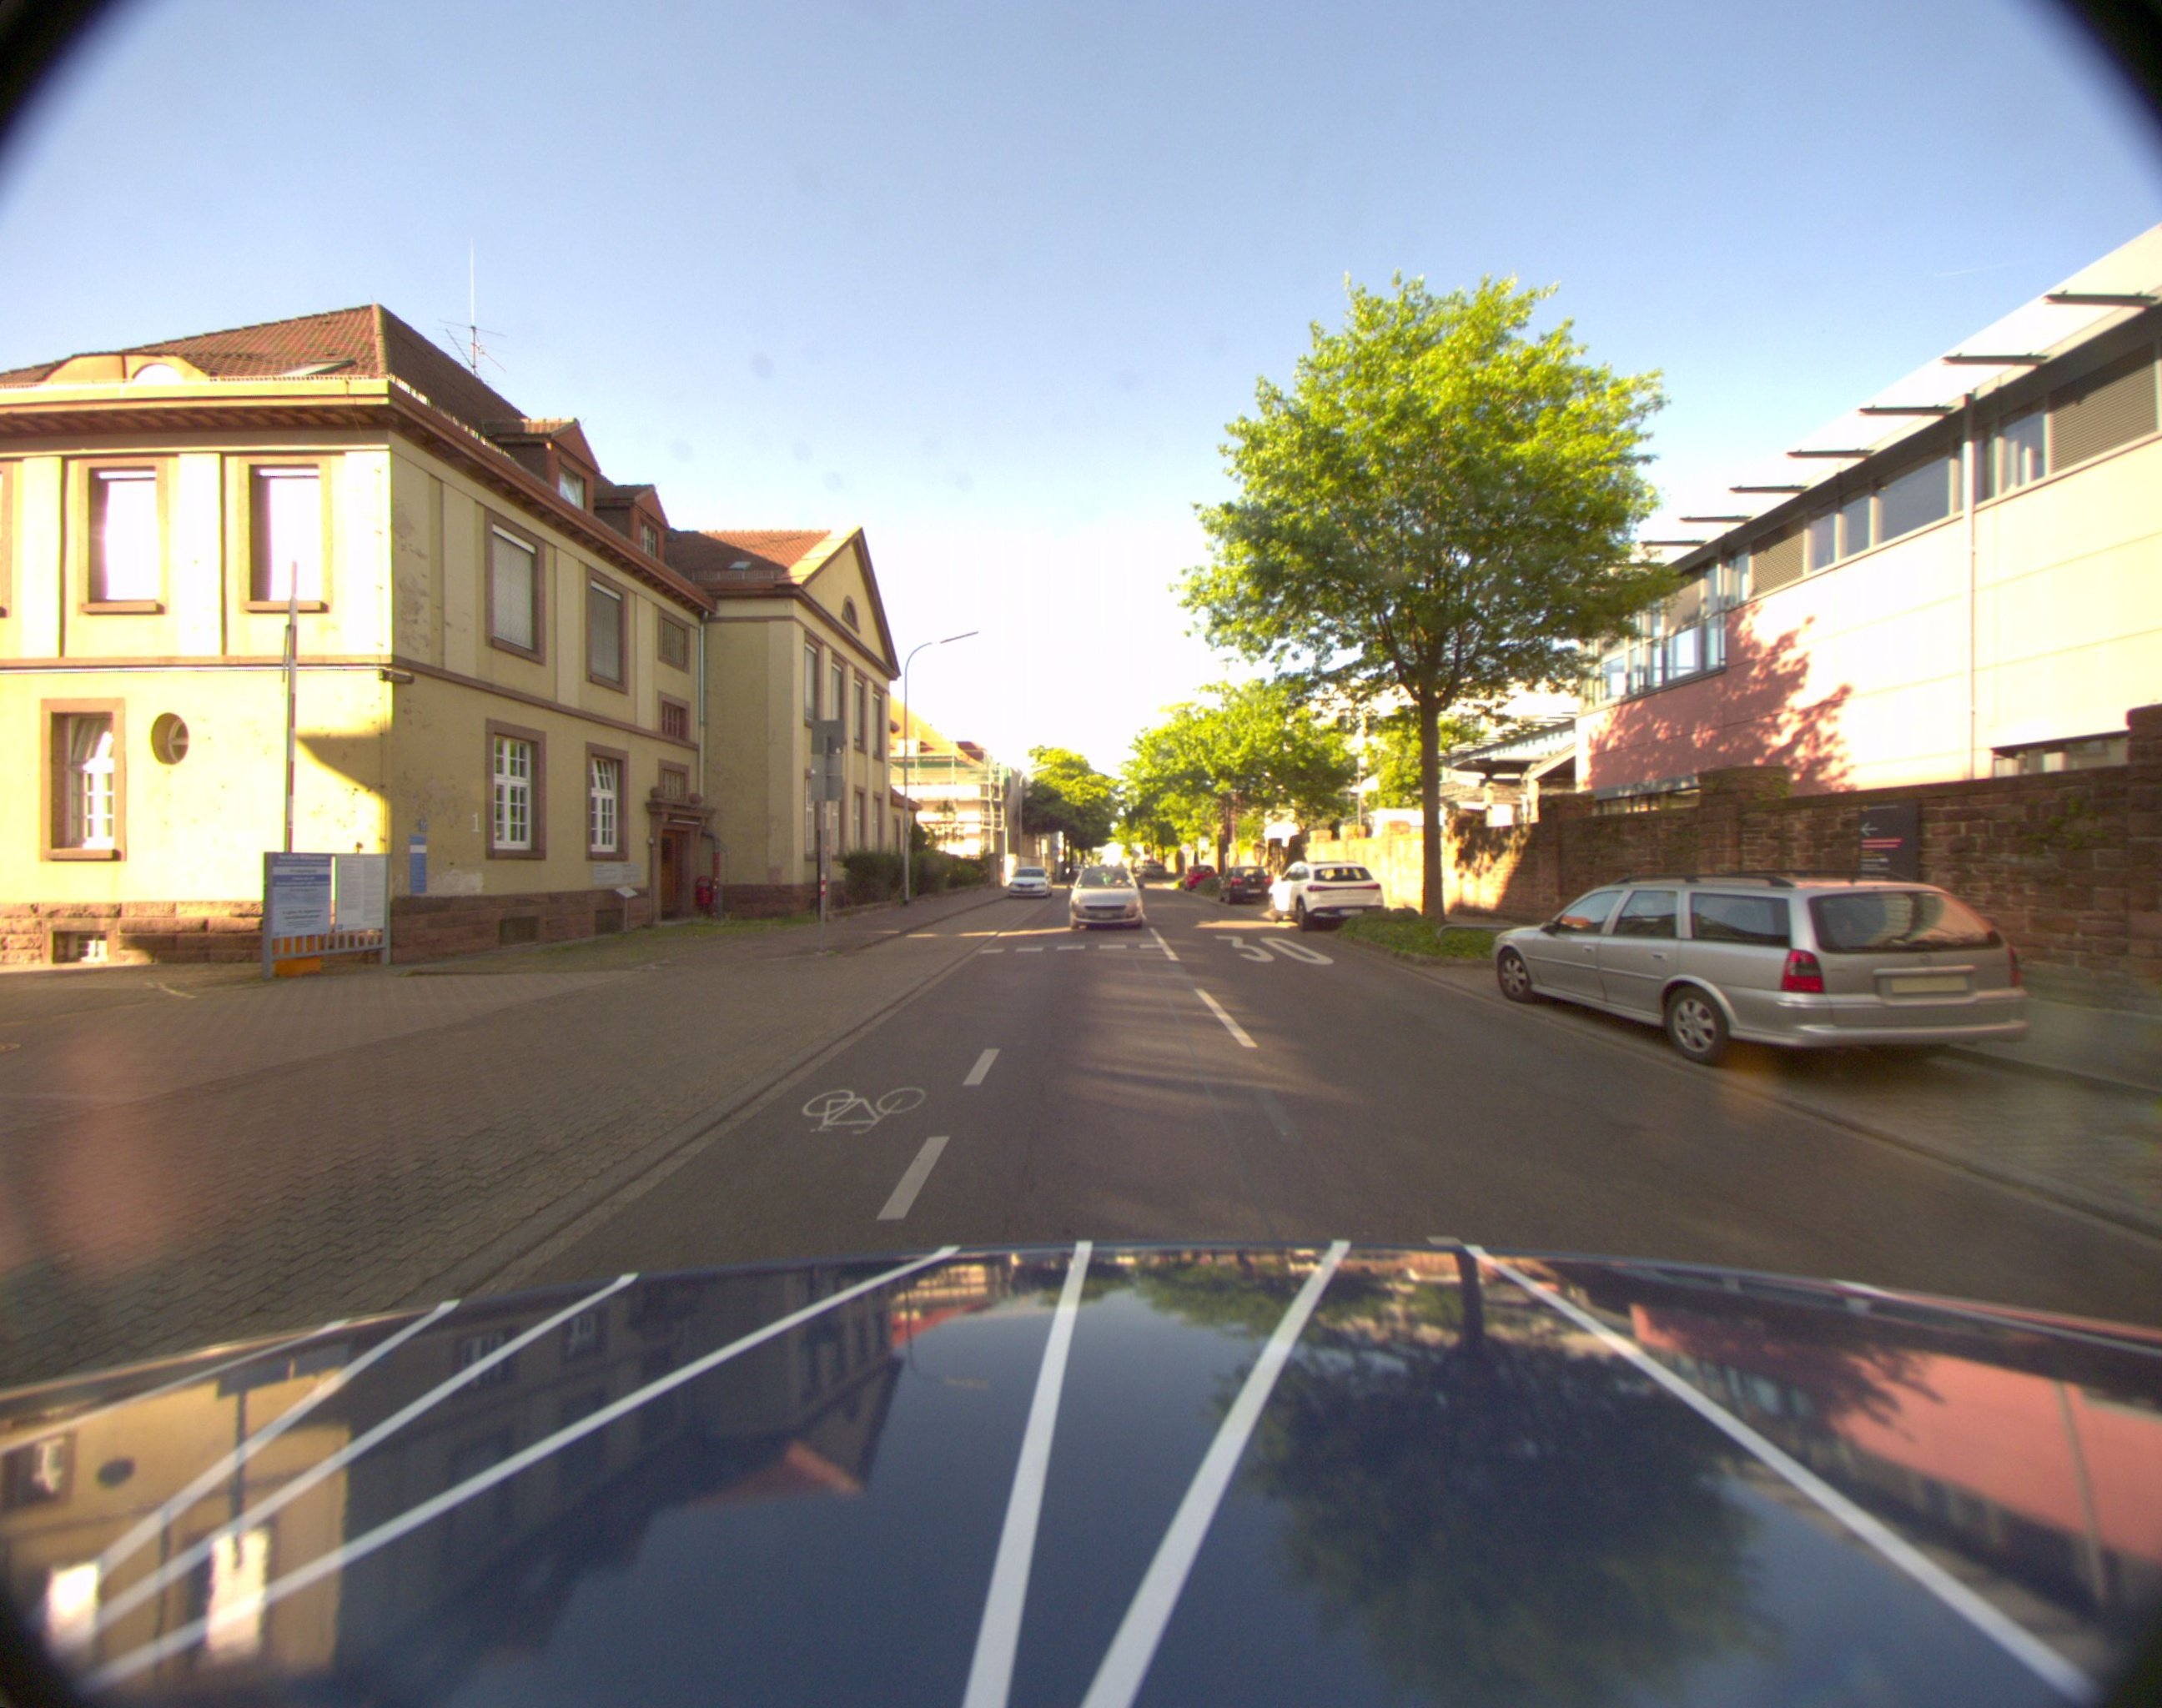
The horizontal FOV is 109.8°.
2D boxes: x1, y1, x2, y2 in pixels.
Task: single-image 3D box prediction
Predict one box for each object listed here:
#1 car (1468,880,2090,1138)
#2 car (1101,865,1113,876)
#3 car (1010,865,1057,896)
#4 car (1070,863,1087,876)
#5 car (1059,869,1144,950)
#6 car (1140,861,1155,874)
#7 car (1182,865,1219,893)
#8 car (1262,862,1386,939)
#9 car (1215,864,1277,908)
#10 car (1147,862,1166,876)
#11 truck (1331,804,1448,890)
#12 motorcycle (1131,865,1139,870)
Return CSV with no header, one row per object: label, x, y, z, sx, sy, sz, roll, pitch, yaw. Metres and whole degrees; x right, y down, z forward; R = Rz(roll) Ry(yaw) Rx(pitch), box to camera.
car,5.584,1.070,7.087,1.730,1.467,4.479,-2,0,2
car,4.469,2.841,130.431,1.834,1.732,4.000,-2,0,1
car,-2.145,1.180,35.474,1.837,1.315,4.497,0,0,1
car,-0.244,1.862,92.066,1.727,1.501,3.994,1,-1,5
car,0.546,1.233,18.308,1.747,1.613,4.107,-2,0,3
car,8.617,1.746,98.516,1.680,1.501,3.852,-4,-3,2
car,6.737,1.361,43.004,1.612,1.450,3.709,-2,0,2
car,5.852,1.050,18.853,1.724,1.673,4.351,0,0,0
car,6.392,1.203,29.785,1.741,1.583,4.108,-1,0,3
car,8.122,1.637,81.703,1.691,1.413,3.839,-2,0,2
truck,14.750,-0.279,37.052,2.739,3.689,7.429,-2,0,2
motorcycle,10.295,2.569,144.973,0.599,1.026,2.132,-1,-1,36
